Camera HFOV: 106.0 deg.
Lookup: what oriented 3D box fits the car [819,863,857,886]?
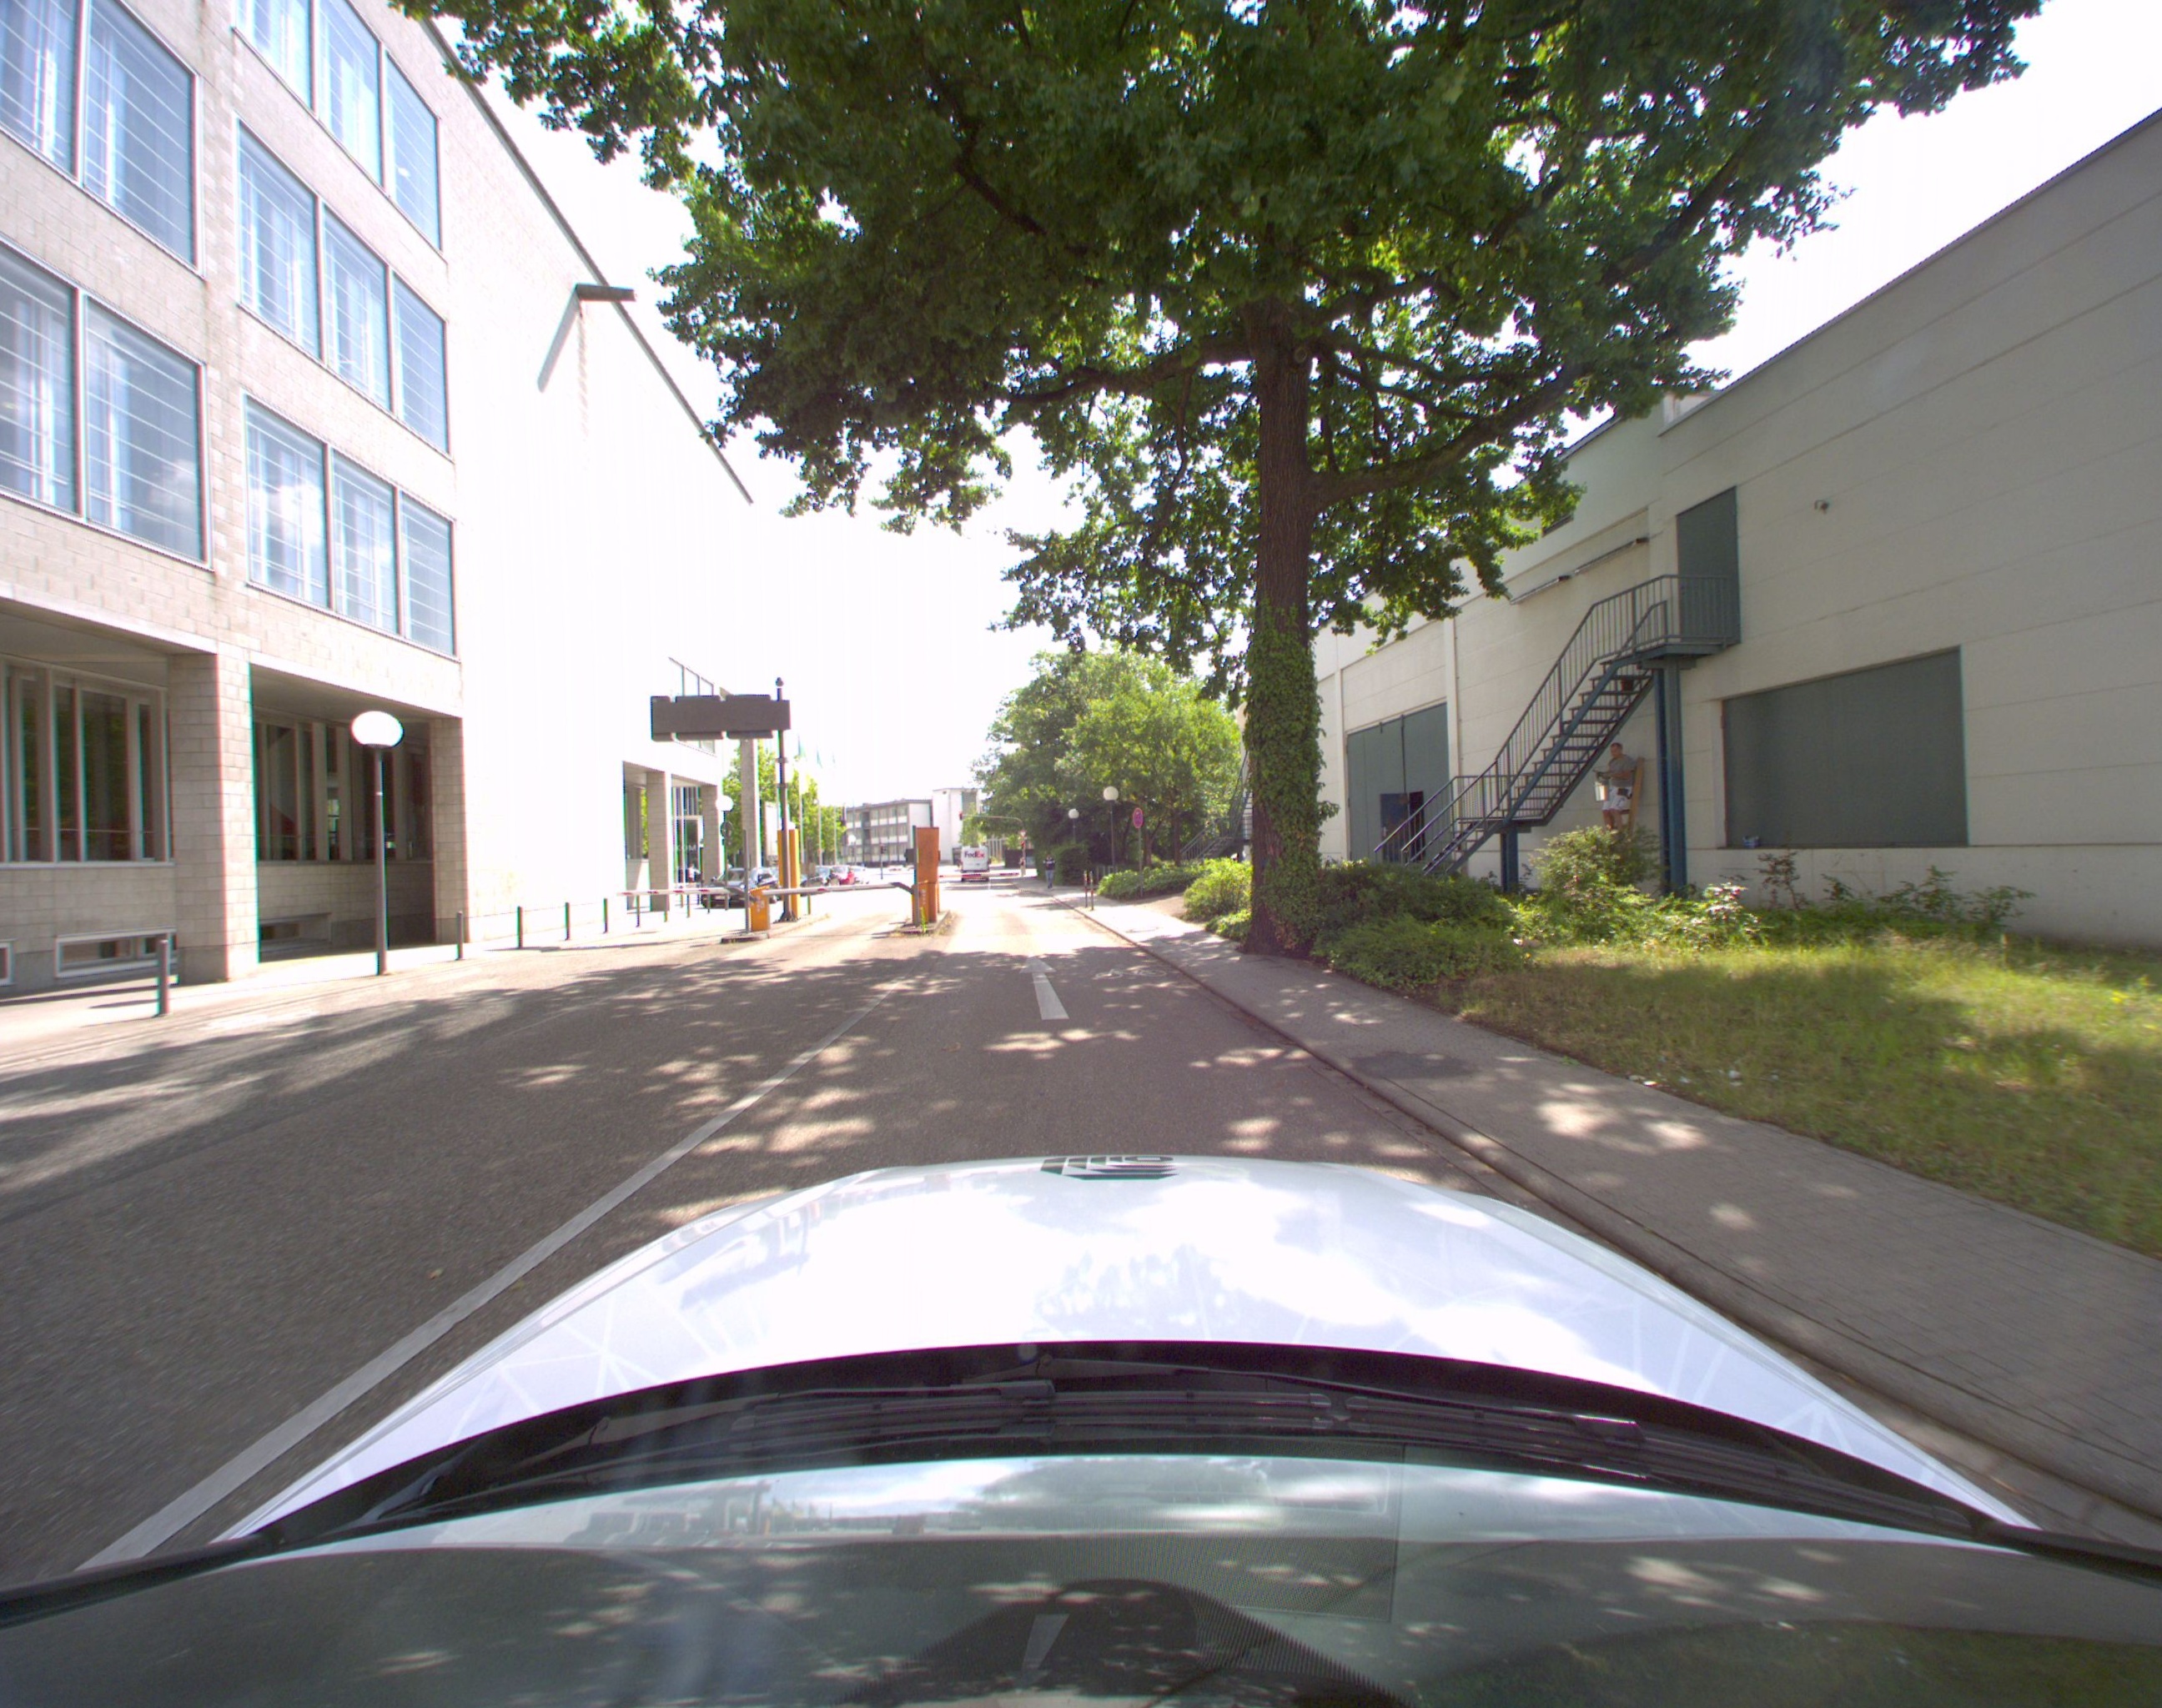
[{"bbox_3d":[-15.930,1.323,53.498,1.674,1.467,3.902,1,-1,-6],"label":"car"}]

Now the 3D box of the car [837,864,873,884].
[{"bbox_3d":[-16.212,1.419,58.623,1.674,1.395,4.652,1,-1,-6],"label":"car"}]

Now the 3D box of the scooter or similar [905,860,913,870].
[{"bbox_3d":[-21.944,1.380,103.779,0.718,1.178,2.709,-1,0,-17],"label":"scooter or similar"}]

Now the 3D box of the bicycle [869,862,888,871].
[{"bbox_3d":[-34.629,2.150,139.097,2.982,1.363,1.103,0,-1,-44],"label":"bicycle"}]

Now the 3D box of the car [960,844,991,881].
[{"bbox_3d":[-7.730,0.606,59.741,2.093,2.566,5.588,-2,0,-7],"label":"car"}]

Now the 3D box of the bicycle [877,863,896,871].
[{"bbox_3d":[-32.723,2.141,137.148,2.982,1.363,1.260,0,-1,-44],"label":"bicycle"}]

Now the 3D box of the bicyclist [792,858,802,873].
[{"bbox_3d":[-35.245,1.396,101.008,0.786,1.817,1.000,-2,0,2],"label":"bicyclist"}]

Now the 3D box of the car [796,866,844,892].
[{"bbox_3d":[-15.422,1.463,48.337,1.745,1.467,4.189,1,-1,-5],"label":"car"}]

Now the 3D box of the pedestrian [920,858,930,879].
[{"bbox_3d":[-13.740,1.288,71.691,0.718,1.859,0.768,-1,0,-5],"label":"pedestrian"}]

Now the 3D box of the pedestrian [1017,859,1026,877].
[{"bbox_3d":[-5.242,1.189,71.494,0.731,1.576,0.772,0,-1,-12],"label":"pedestrian"}]

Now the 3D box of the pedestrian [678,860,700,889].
[{"bbox_3d":[-25.376,1.345,52.737,0.713,1.851,1.095,0,-1,28],"label":"pedestrian"}]

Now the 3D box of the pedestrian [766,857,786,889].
[{"bbox_3d":[-19.720,1.209,52.658,0.894,2.027,0.802,-2,-1,23],"label":"pedestrian"}]

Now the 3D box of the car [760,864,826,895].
[{"bbox_3d":[-14.323,1.231,40.762,1.856,1.378,5.007,1,-1,-5],"label":"car"}]

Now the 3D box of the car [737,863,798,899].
[{"bbox_3d":[-13.906,1.167,36.333,1.637,1.467,3.698,1,-1,-7],"label":"car"}]

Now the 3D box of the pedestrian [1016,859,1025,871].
[{"bbox_3d":[-7.726,1.415,103.716,0.829,1.523,0.808,-1,-1,-26],"label":"pedestrian"}]

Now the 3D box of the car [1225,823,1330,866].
[{"bbox_3d":[10.044,-0.458,41.818,4.819,2.014,2.057,-2,0,-7],"label":"car"}]

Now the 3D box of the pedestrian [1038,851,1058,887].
[{"bbox_3d":[-1.569,0.695,38.648,0.739,1.674,1.252,-1,-1,-10],"label":"pedestrian"}]

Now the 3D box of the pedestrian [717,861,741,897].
[{"bbox_3d":[-19.880,1.399,46.052,0.984,2.014,1.160,-1,-1,-11],"label":"pedestrian"}]

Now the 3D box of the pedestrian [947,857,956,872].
[{"bbox_3d":[-16.066,1.310,100.832,1.080,1.870,0.830,-2,0,-9],"label":"pedestrian"}]

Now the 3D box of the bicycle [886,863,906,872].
[{"bbox_3d":[-30.681,2.196,135.029,2.982,1.363,1.103,0,-1,-44],"label":"bicycle"}]

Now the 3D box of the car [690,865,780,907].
[{"bbox_3d":[-13.059,1.156,31.051,1.857,1.467,4.707,1,-1,-7],"label":"car"}]

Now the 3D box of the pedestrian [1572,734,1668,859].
[{"bbox_3d":[9.097,-0.946,13.787,0.925,2.013,0.948,-2,0,-3],"label":"pedestrian"}]
